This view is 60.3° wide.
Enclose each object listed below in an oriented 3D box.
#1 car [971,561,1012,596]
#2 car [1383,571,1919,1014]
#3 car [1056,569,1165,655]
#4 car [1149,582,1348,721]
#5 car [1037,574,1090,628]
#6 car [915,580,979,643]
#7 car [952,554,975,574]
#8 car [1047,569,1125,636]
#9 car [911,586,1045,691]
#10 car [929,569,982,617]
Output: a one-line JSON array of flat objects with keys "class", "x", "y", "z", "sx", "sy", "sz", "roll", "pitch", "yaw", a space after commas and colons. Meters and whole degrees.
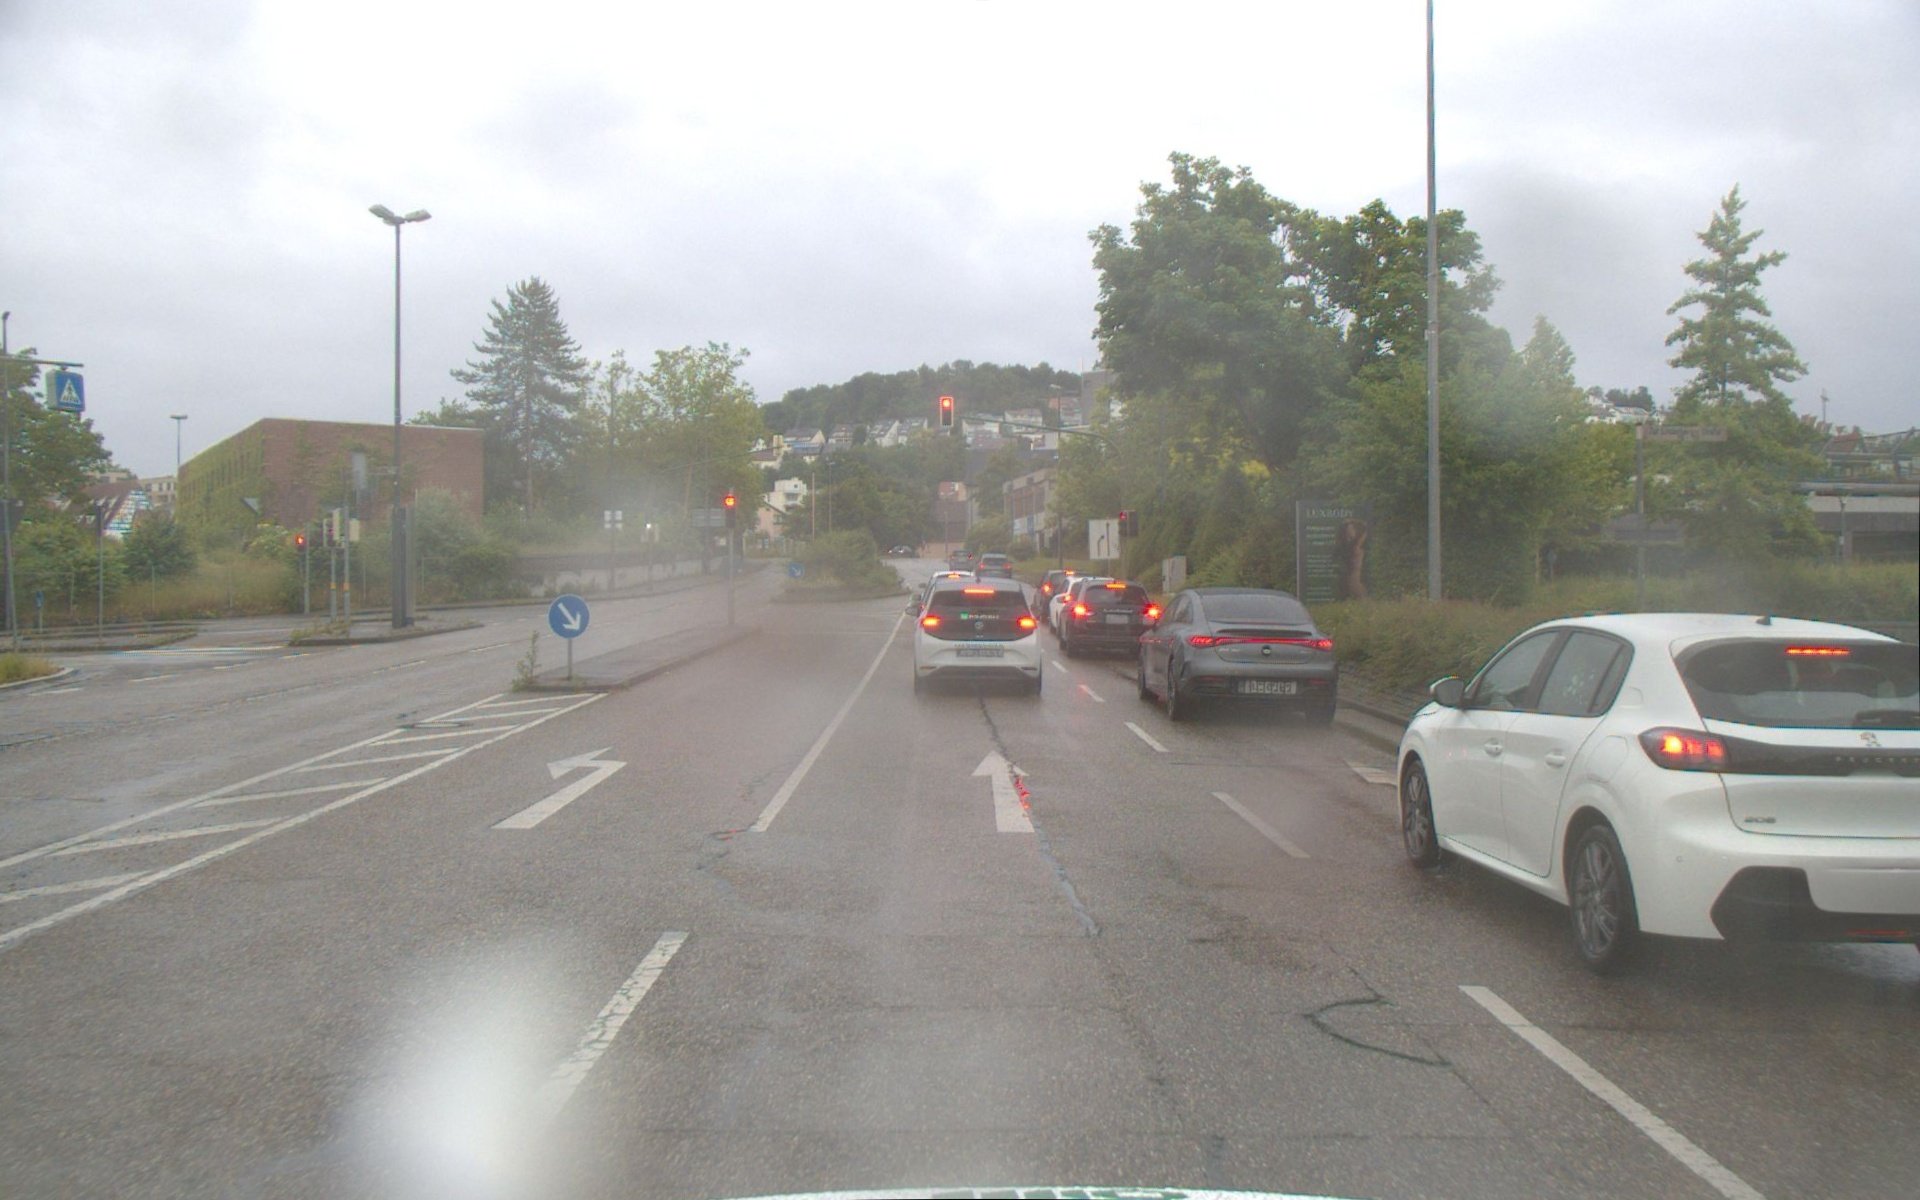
[{"class": "car", "x": 1.591, "y": -1.097, "z": 85.358, "sx": 1.759, "sy": 1.596, "sz": 3.522, "roll": -2, "pitch": -2, "yaw": -5}, {"class": "car", "x": 3.383, "y": 0.664, "z": 7.954, "sx": 1.656, "sy": 1.545, "sz": 3.933, "roll": 0, "pitch": 2, "yaw": -1}, {"class": "car", "x": 2.883, "y": 0.271, "z": 32.177, "sx": 1.615, "sy": 1.511, "sz": 3.363, "roll": -2, "pitch": -2, "yaw": -3}, {"class": "car", "x": 3.320, "y": 0.541, "z": 19.614, "sx": 1.699, "sy": 1.412, "sz": 3.352, "roll": 1, "pitch": 2, "yaw": -1}, {"class": "car", "x": 2.987, "y": 0.011, "z": 48.244, "sx": 1.289, "sy": 1.421, "sz": 3.079, "roll": -2, "pitch": 2, "yaw": -1}, {"class": "car", "x": -0.290, "y": 0.257, "z": 34.166, "sx": 1.189, "sy": 1.176, "sz": 2.268, "roll": -1, "pitch": -2, "yaw": -3}, {"class": "car", "x": 0.225, "y": -2.476, "z": 113.702, "sx": 1.339, "sy": 1.177, "sz": 2.424, "roll": -1, "pitch": -2, "yaw": -4}, {"class": "car", "x": 3.042, "y": 0.103, "z": 40.449, "sx": 1.533, "sy": 1.422, "sz": 3.956, "roll": -2, "pitch": -2, "yaw": -1}, {"class": "car", "x": 0.217, "y": 0.539, "z": 23.241, "sx": 1.706, "sy": 1.318, "sz": 3.333, "roll": -2, "pitch": -1, "yaw": -1}, {"class": "car", "x": -0.131, "y": -0.178, "z": 45.287, "sx": 1.357, "sy": 1.146, "sz": 2.609, "roll": -2, "pitch": -2, "yaw": -1}]
